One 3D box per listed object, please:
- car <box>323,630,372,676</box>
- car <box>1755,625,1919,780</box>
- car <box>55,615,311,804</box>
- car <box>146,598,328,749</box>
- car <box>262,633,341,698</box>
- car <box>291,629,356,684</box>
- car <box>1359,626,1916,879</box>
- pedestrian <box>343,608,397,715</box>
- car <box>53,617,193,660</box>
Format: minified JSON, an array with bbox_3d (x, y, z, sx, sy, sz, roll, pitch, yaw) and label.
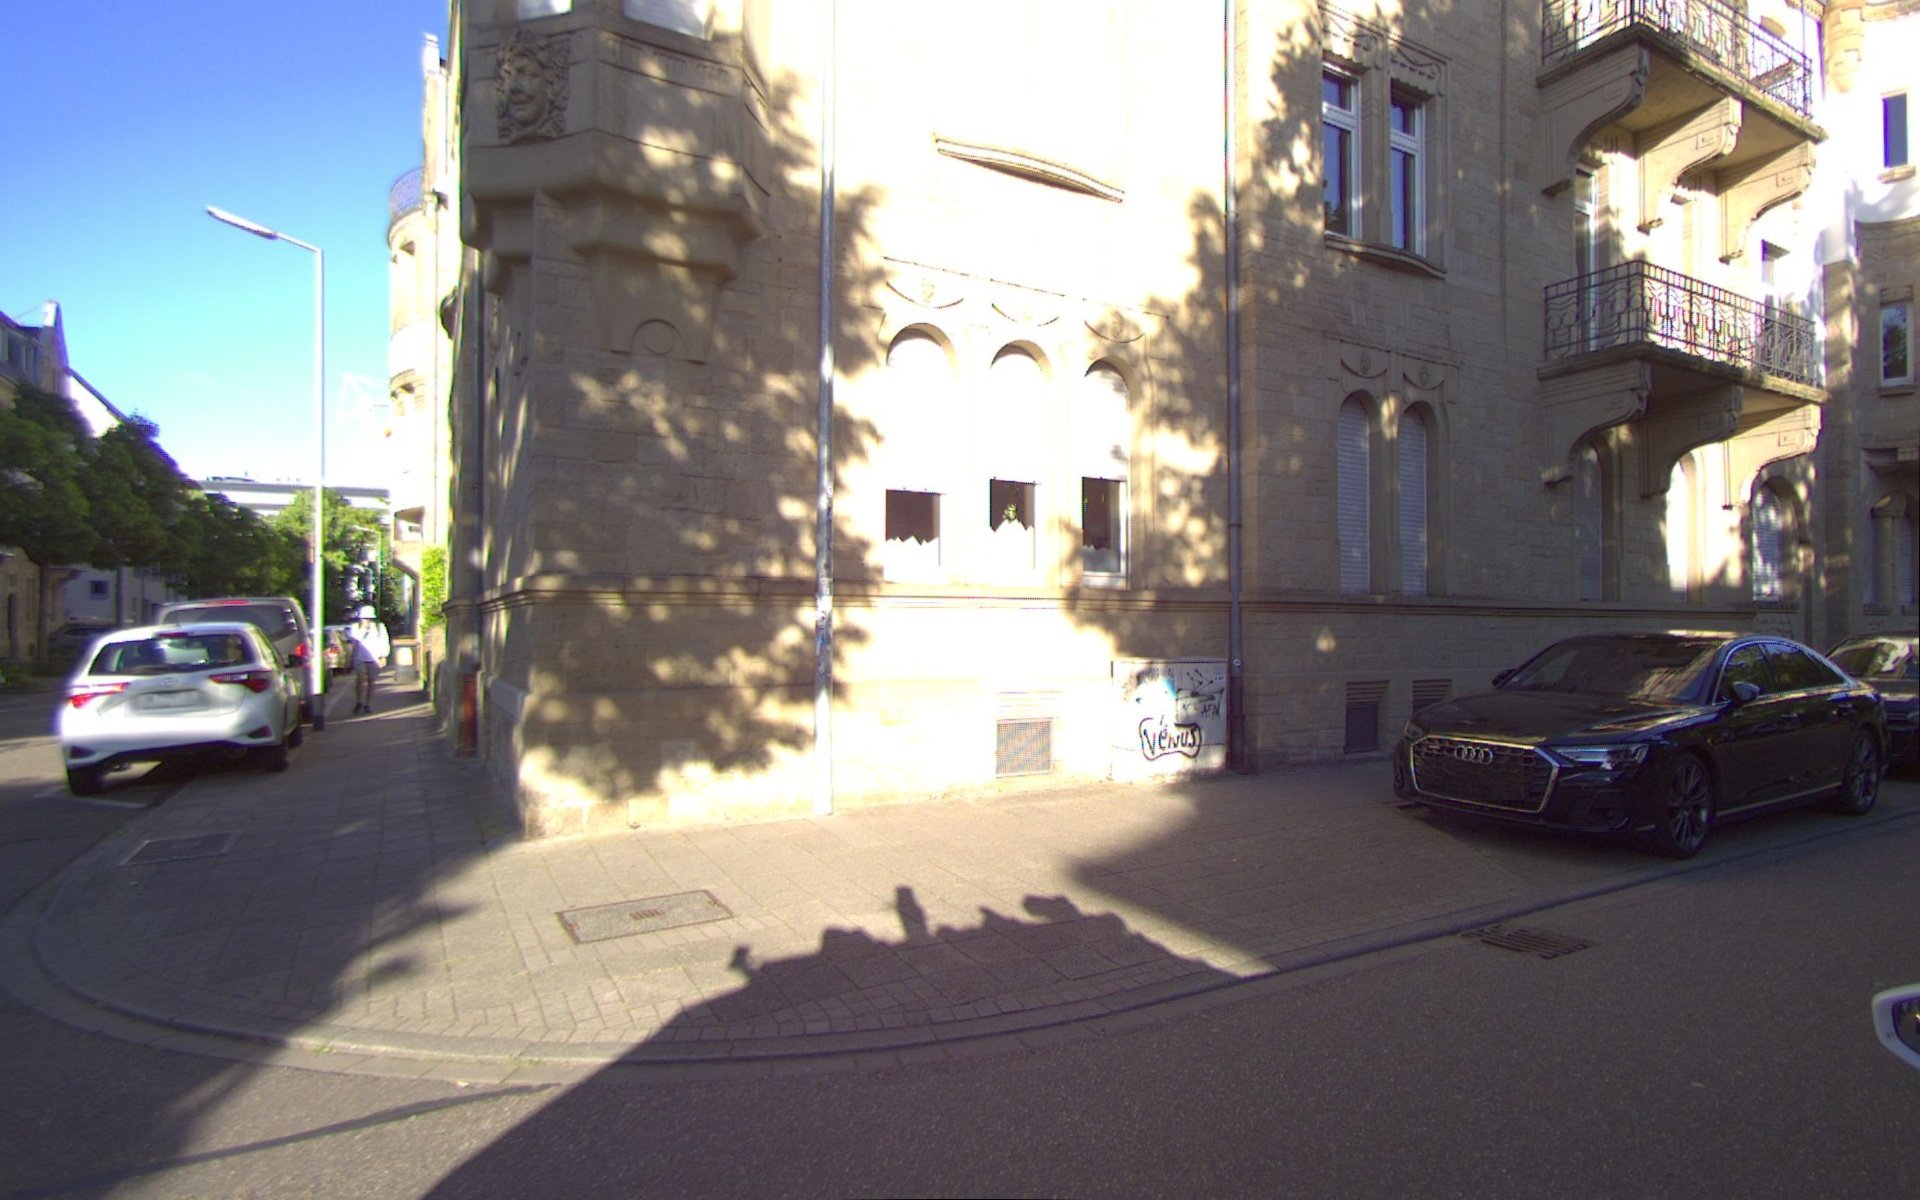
[{"bbox_3d":[-25.660,2.183,42.109,1.634,1.753,3.386,-2,0,-31],"label":"car"},{"bbox_3d":[10.592,1.042,11.023,3.983,1.472,1.687,2,-2,-32],"label":"car"},{"bbox_3d":[-8.081,1.007,10.787,1.699,1.571,3.776,-2,0,-31],"label":"car"},{"bbox_3d":[-10.941,1.014,15.508,1.846,1.891,4.688,-2,0,-31],"label":"car"},{"bbox_3d":[-16.258,1.562,24.921,1.471,1.423,3.386,-2,0,-31],"label":"car"},{"bbox_3d":[-18.382,1.584,29.098,1.471,1.423,3.386,-2,0,-31],"label":"car"},{"bbox_3d":[5.560,0.990,8.059,4.841,1.446,1.802,1,1,-31],"label":"car"},{"bbox_3d":[-9.699,1.019,16.545,0.691,1.708,0.760,2,-6,-28],"label":"pedestrian"},{"bbox_3d":[-34.446,1.583,41.483,4.165,1.722,1.704,1,-2,-32],"label":"car"}]
